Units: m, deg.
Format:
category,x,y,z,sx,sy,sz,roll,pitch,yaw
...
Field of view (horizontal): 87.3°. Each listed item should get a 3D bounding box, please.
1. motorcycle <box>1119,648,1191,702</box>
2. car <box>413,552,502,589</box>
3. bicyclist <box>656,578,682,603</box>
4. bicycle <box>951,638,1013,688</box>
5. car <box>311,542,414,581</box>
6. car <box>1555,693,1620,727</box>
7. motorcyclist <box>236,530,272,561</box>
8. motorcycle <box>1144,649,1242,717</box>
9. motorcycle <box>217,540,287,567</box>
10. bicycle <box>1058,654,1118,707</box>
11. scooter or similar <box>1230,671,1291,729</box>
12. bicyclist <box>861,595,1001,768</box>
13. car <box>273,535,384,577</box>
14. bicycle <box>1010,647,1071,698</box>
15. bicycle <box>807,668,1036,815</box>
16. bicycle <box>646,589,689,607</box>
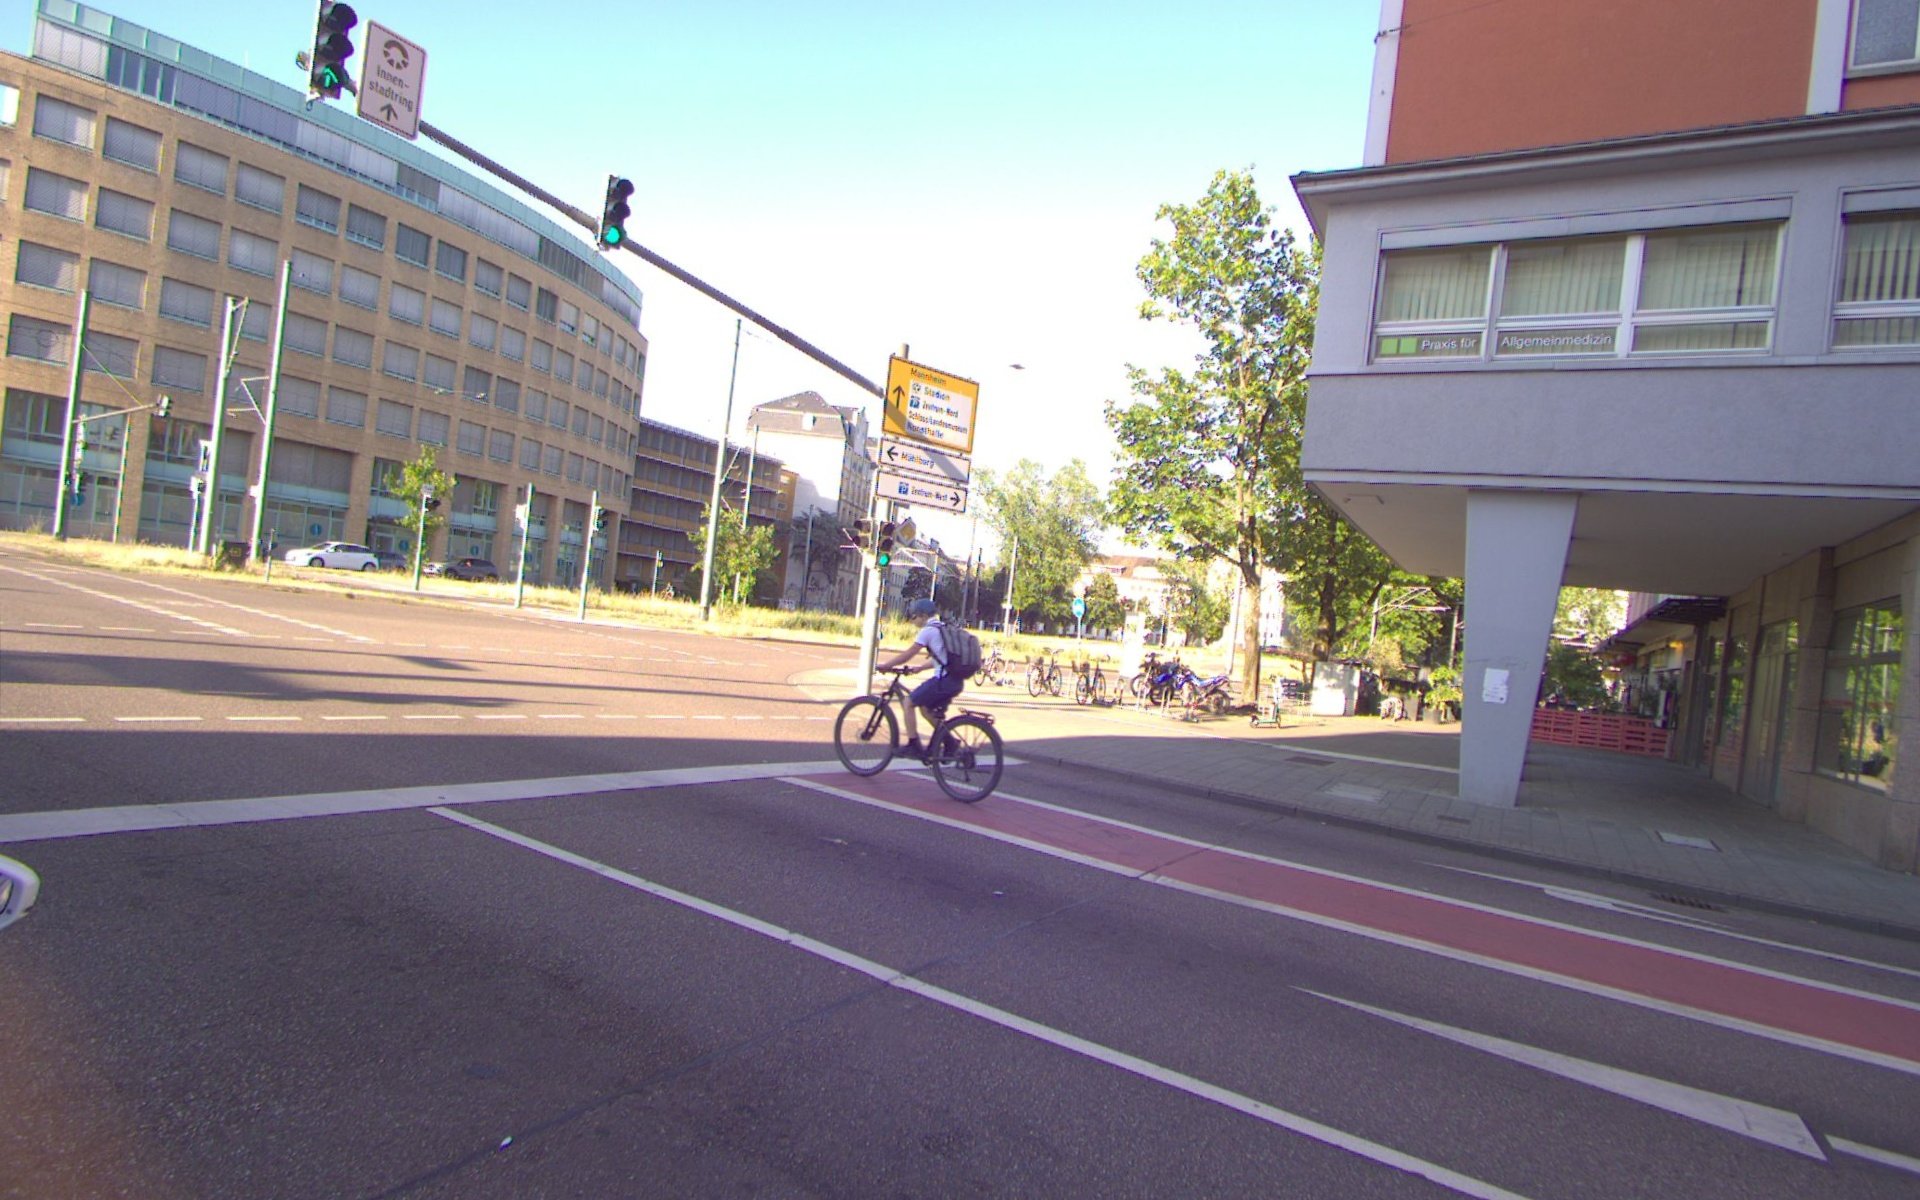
category,x,y,z,sx,sy,sz,roll,pitch,yaw
motorcycle,5.517,2.130,28.429,2.044,1.324,0.879,7,-1,-44
car,-28.049,-1.626,56.241,1.790,1.509,4.059,6,-1,30
bicyclist,-21.408,-0.692,74.034,1.134,1.591,1.225,6,0,30
bicycle,0.565,1.551,25.077,0.583,1.129,1.974,7,1,28
car,-33.486,-2.150,56.493,1.953,1.555,4.488,6,-1,32
car,36.339,6.374,58.231,3.843,1.575,1.944,8,-1,-38
motorcyclist,-36.320,-2.803,51.765,1.014,1.453,1.067,6,0,30
motorcycle,5.930,2.110,25.628,2.224,1.409,0.844,7,-1,19
motorcycle,-36.374,-2.372,51.754,1.014,0.975,2.722,6,-1,30
bicycle,3.030,1.866,23.641,0.583,1.129,2.058,7,1,28
scooter or similar,6.928,2.317,23.164,1.549,1.251,0.479,6,1,-40
bicyclist,-0.258,0.719,8.969,0.914,1.385,0.593,7,-1,32
car,-31.487,-2.171,50.264,1.961,1.509,4.171,6,-1,29
bicycle,1.958,1.728,24.256,0.584,1.129,2.003,7,1,29
bicycle,-0.375,1.222,8.992,1.945,0.954,0.593,7,-2,32
bicycle,-21.495,-0.162,73.999,1.134,1.012,2.966,6,-1,29
